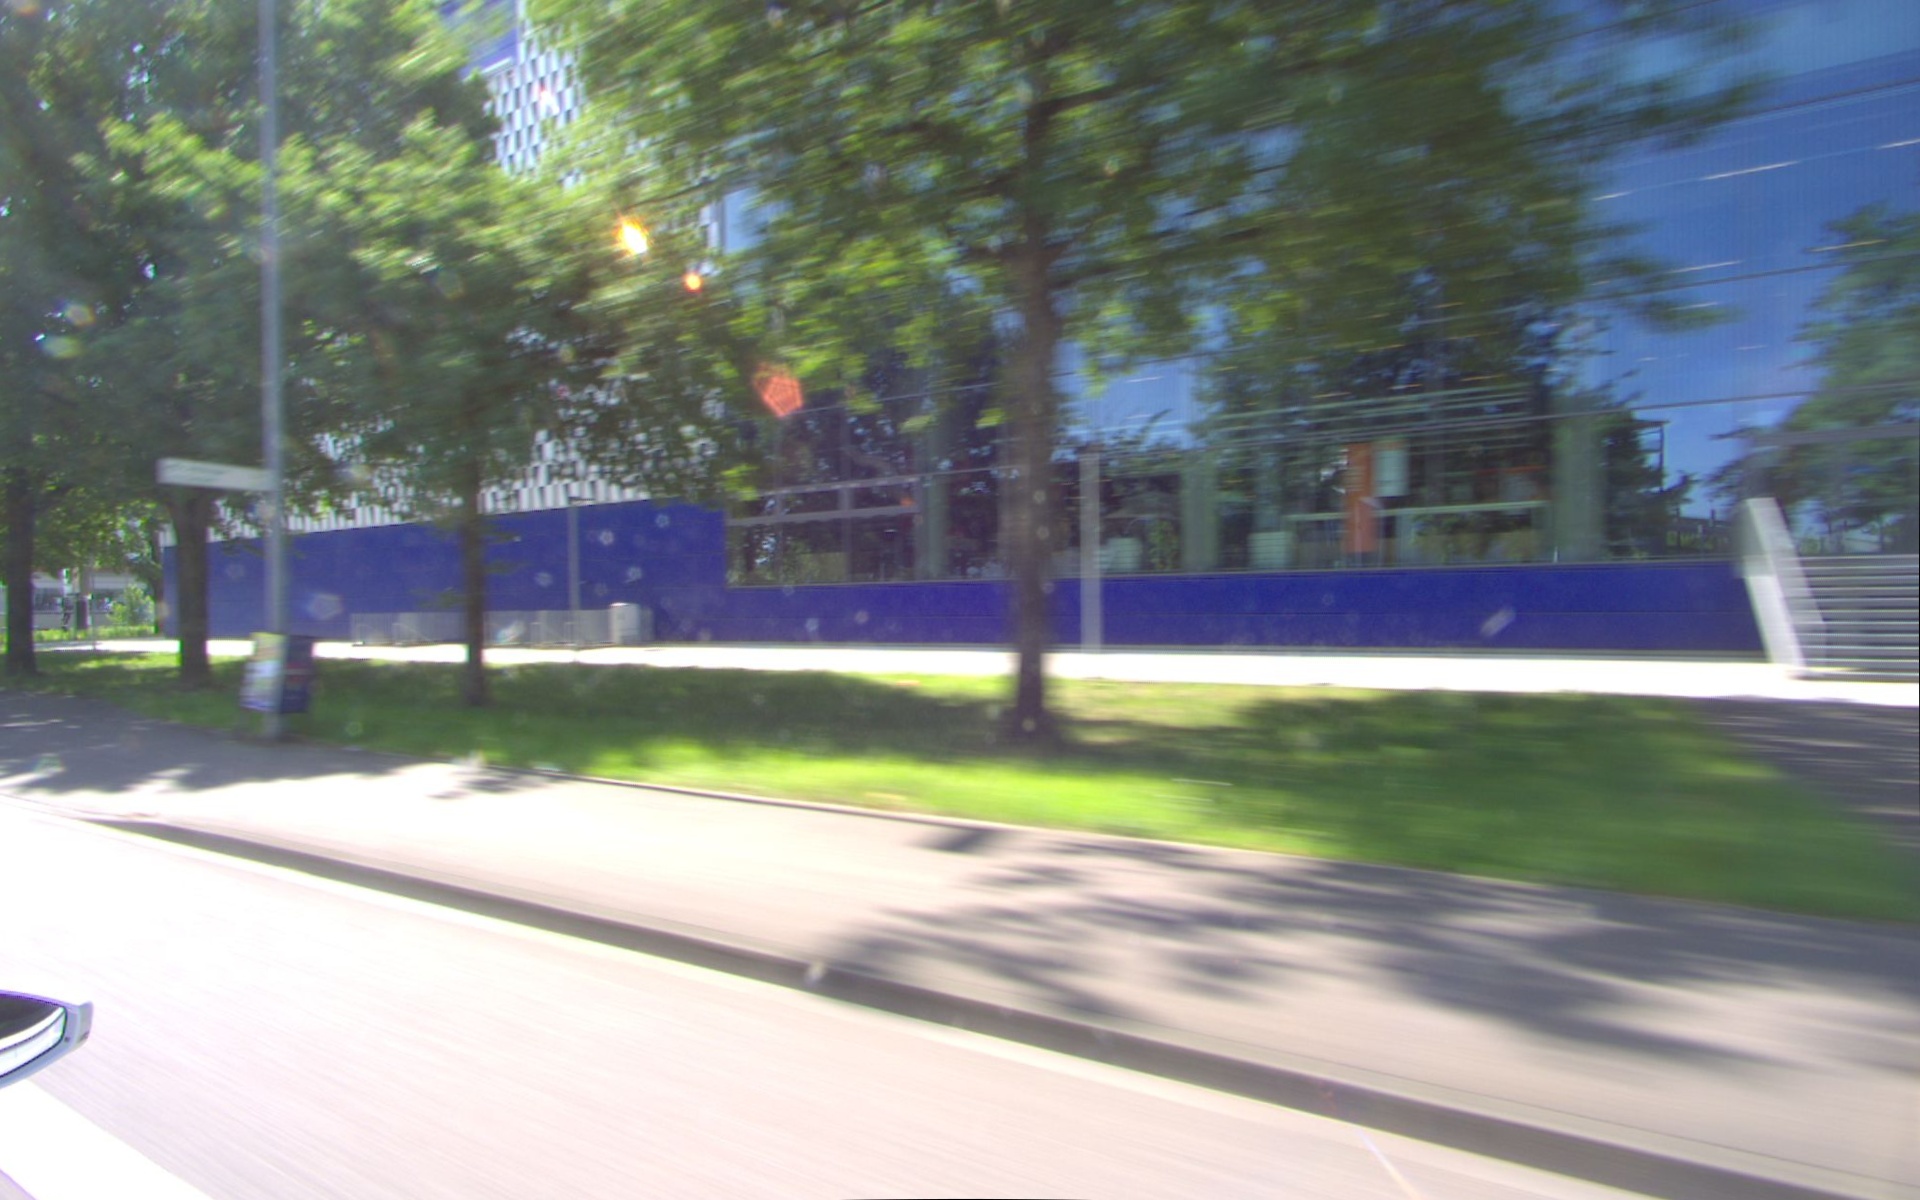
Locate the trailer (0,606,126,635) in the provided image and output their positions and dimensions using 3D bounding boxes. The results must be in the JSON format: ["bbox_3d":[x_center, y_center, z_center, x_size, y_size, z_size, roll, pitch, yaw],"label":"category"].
[{"bbox_3d":[-86.242,1.948,94.183,1.972,2.500,11.847,1,-2,34],"label":"trailer"}]

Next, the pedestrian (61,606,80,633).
[{"bbox_3d":[-58.864,1.299,66.277,0.791,1.793,0.627,-1,1,21],"label":"pedestrian"}]
